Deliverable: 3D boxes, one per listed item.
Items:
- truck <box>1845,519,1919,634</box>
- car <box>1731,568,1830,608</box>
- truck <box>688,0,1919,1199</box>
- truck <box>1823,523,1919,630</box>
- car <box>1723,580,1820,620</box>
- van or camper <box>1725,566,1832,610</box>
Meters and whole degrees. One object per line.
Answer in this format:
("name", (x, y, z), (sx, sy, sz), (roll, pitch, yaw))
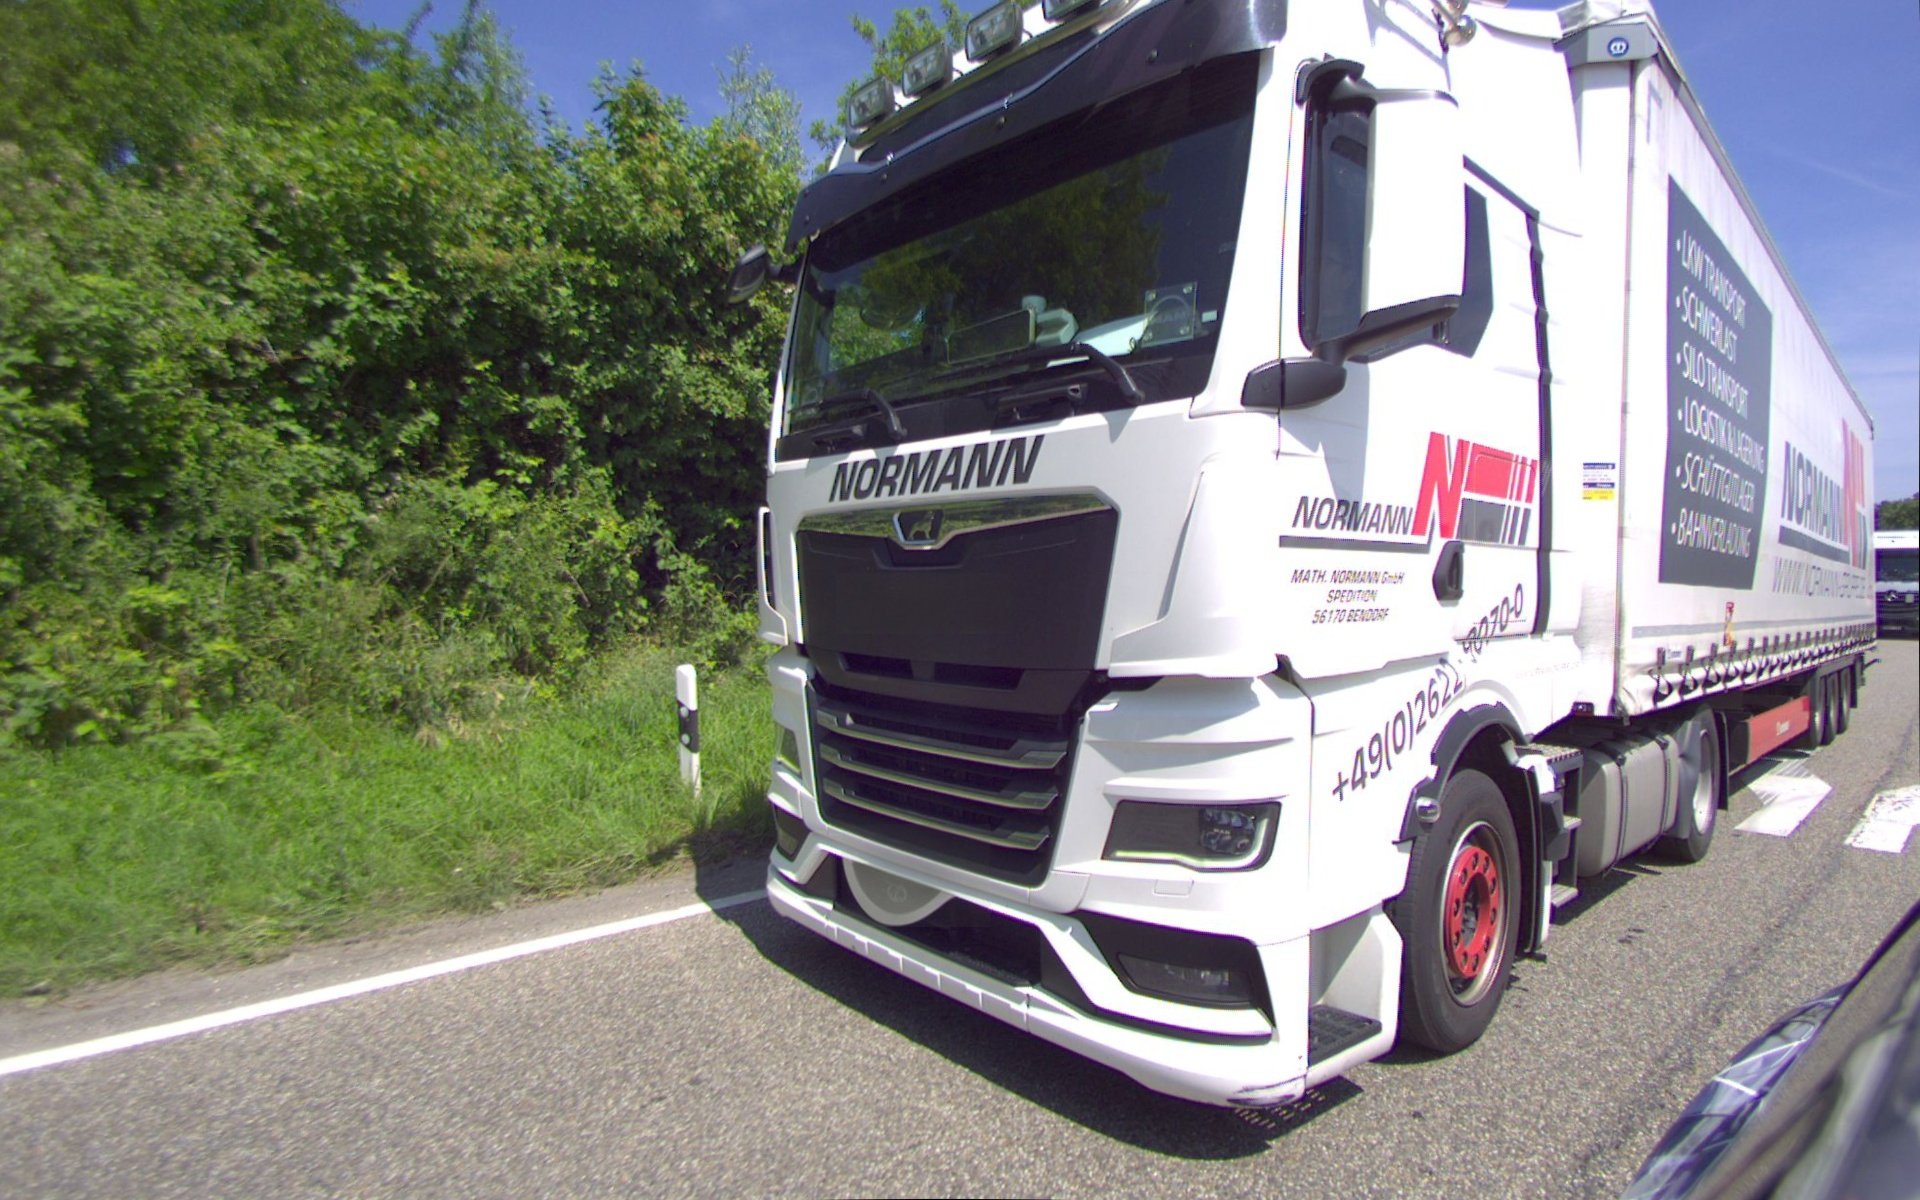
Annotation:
("truck", (35.859, -0.902, 38.268), (2.967, 4.058, 6.243), (4, 3, 37))
("car", (43.423, -0.670, 53.605), (3.856, 1.711, 1.914), (9, 7, 42))
("truck", (6.142, -0.927, 9.131), (17.346, 4.145, 2.975), (-2, 0, -44))
("truck", (40.148, -1.075, 43.985), (2.967, 4.058, 13.936), (3, 3, 37))
("car", (39.946, -0.047, 49.908), (3.525, 1.495, 1.807), (9, 7, 39))
("van or camper", (55.973, -0.889, 69.275), (5.475, 2.763, 2.198), (3, 3, 43))
